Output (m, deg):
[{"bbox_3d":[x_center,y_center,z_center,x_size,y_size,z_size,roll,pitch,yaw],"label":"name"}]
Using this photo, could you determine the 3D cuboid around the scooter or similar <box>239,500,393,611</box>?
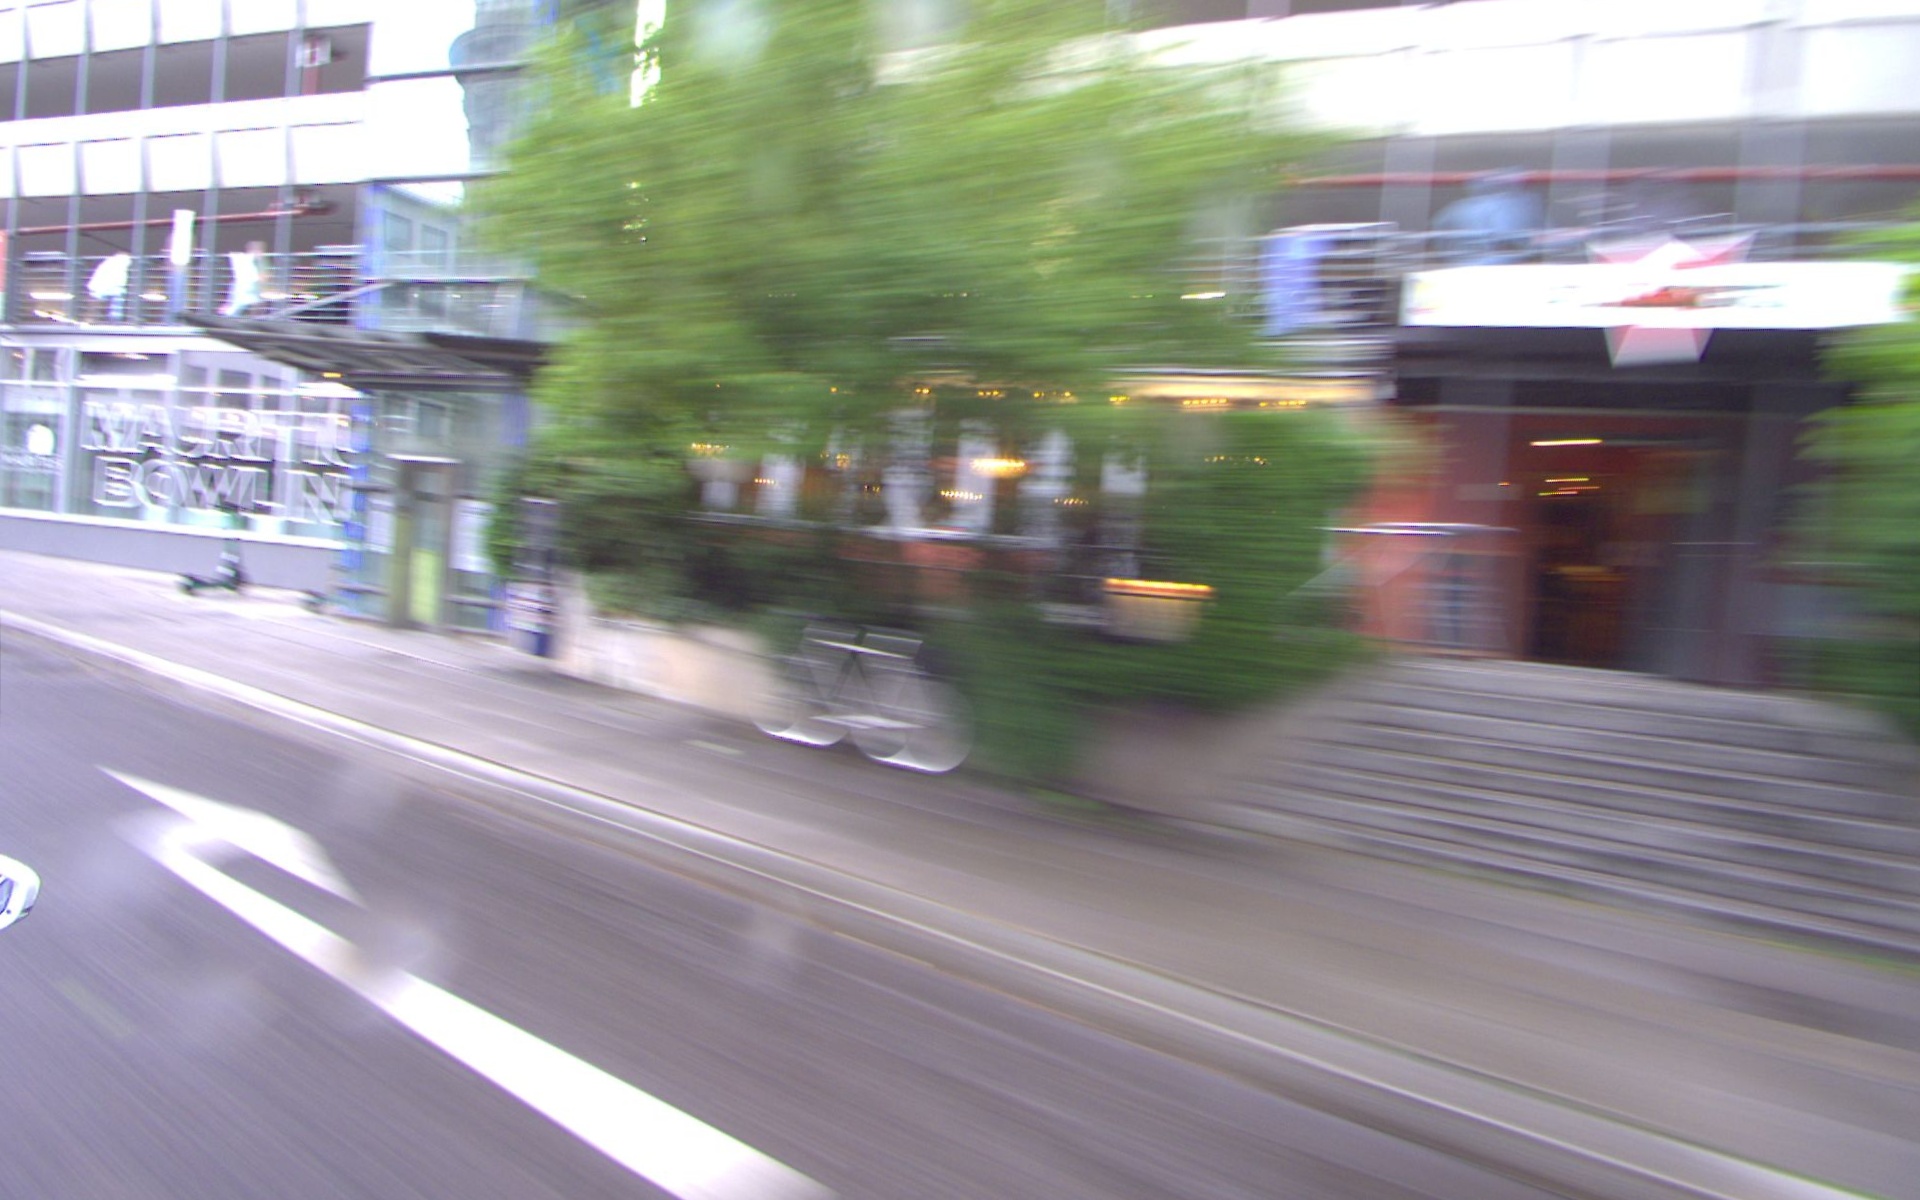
[{"bbox_3d":[-8.360,-0.562,13.145,0.729,1.285,1.639,7,3,8],"label":"scooter or similar"}]

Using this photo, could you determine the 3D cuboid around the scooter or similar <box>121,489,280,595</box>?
[{"bbox_3d":[-10.322,-0.772,13.751,0.729,1.285,1.639,7,3,8],"label":"scooter or similar"}]

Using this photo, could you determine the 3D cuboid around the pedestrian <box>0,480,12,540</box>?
[{"bbox_3d":[-18.832,-1.788,19.027,1.223,1.137,0.755,7,1,18],"label":"pedestrian"}]

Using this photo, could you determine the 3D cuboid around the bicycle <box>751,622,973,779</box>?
[{"bbox_3d":[-0.768,0.713,7.560,1.662,0.897,0.470,7,2,33],"label":"bicycle"}]
